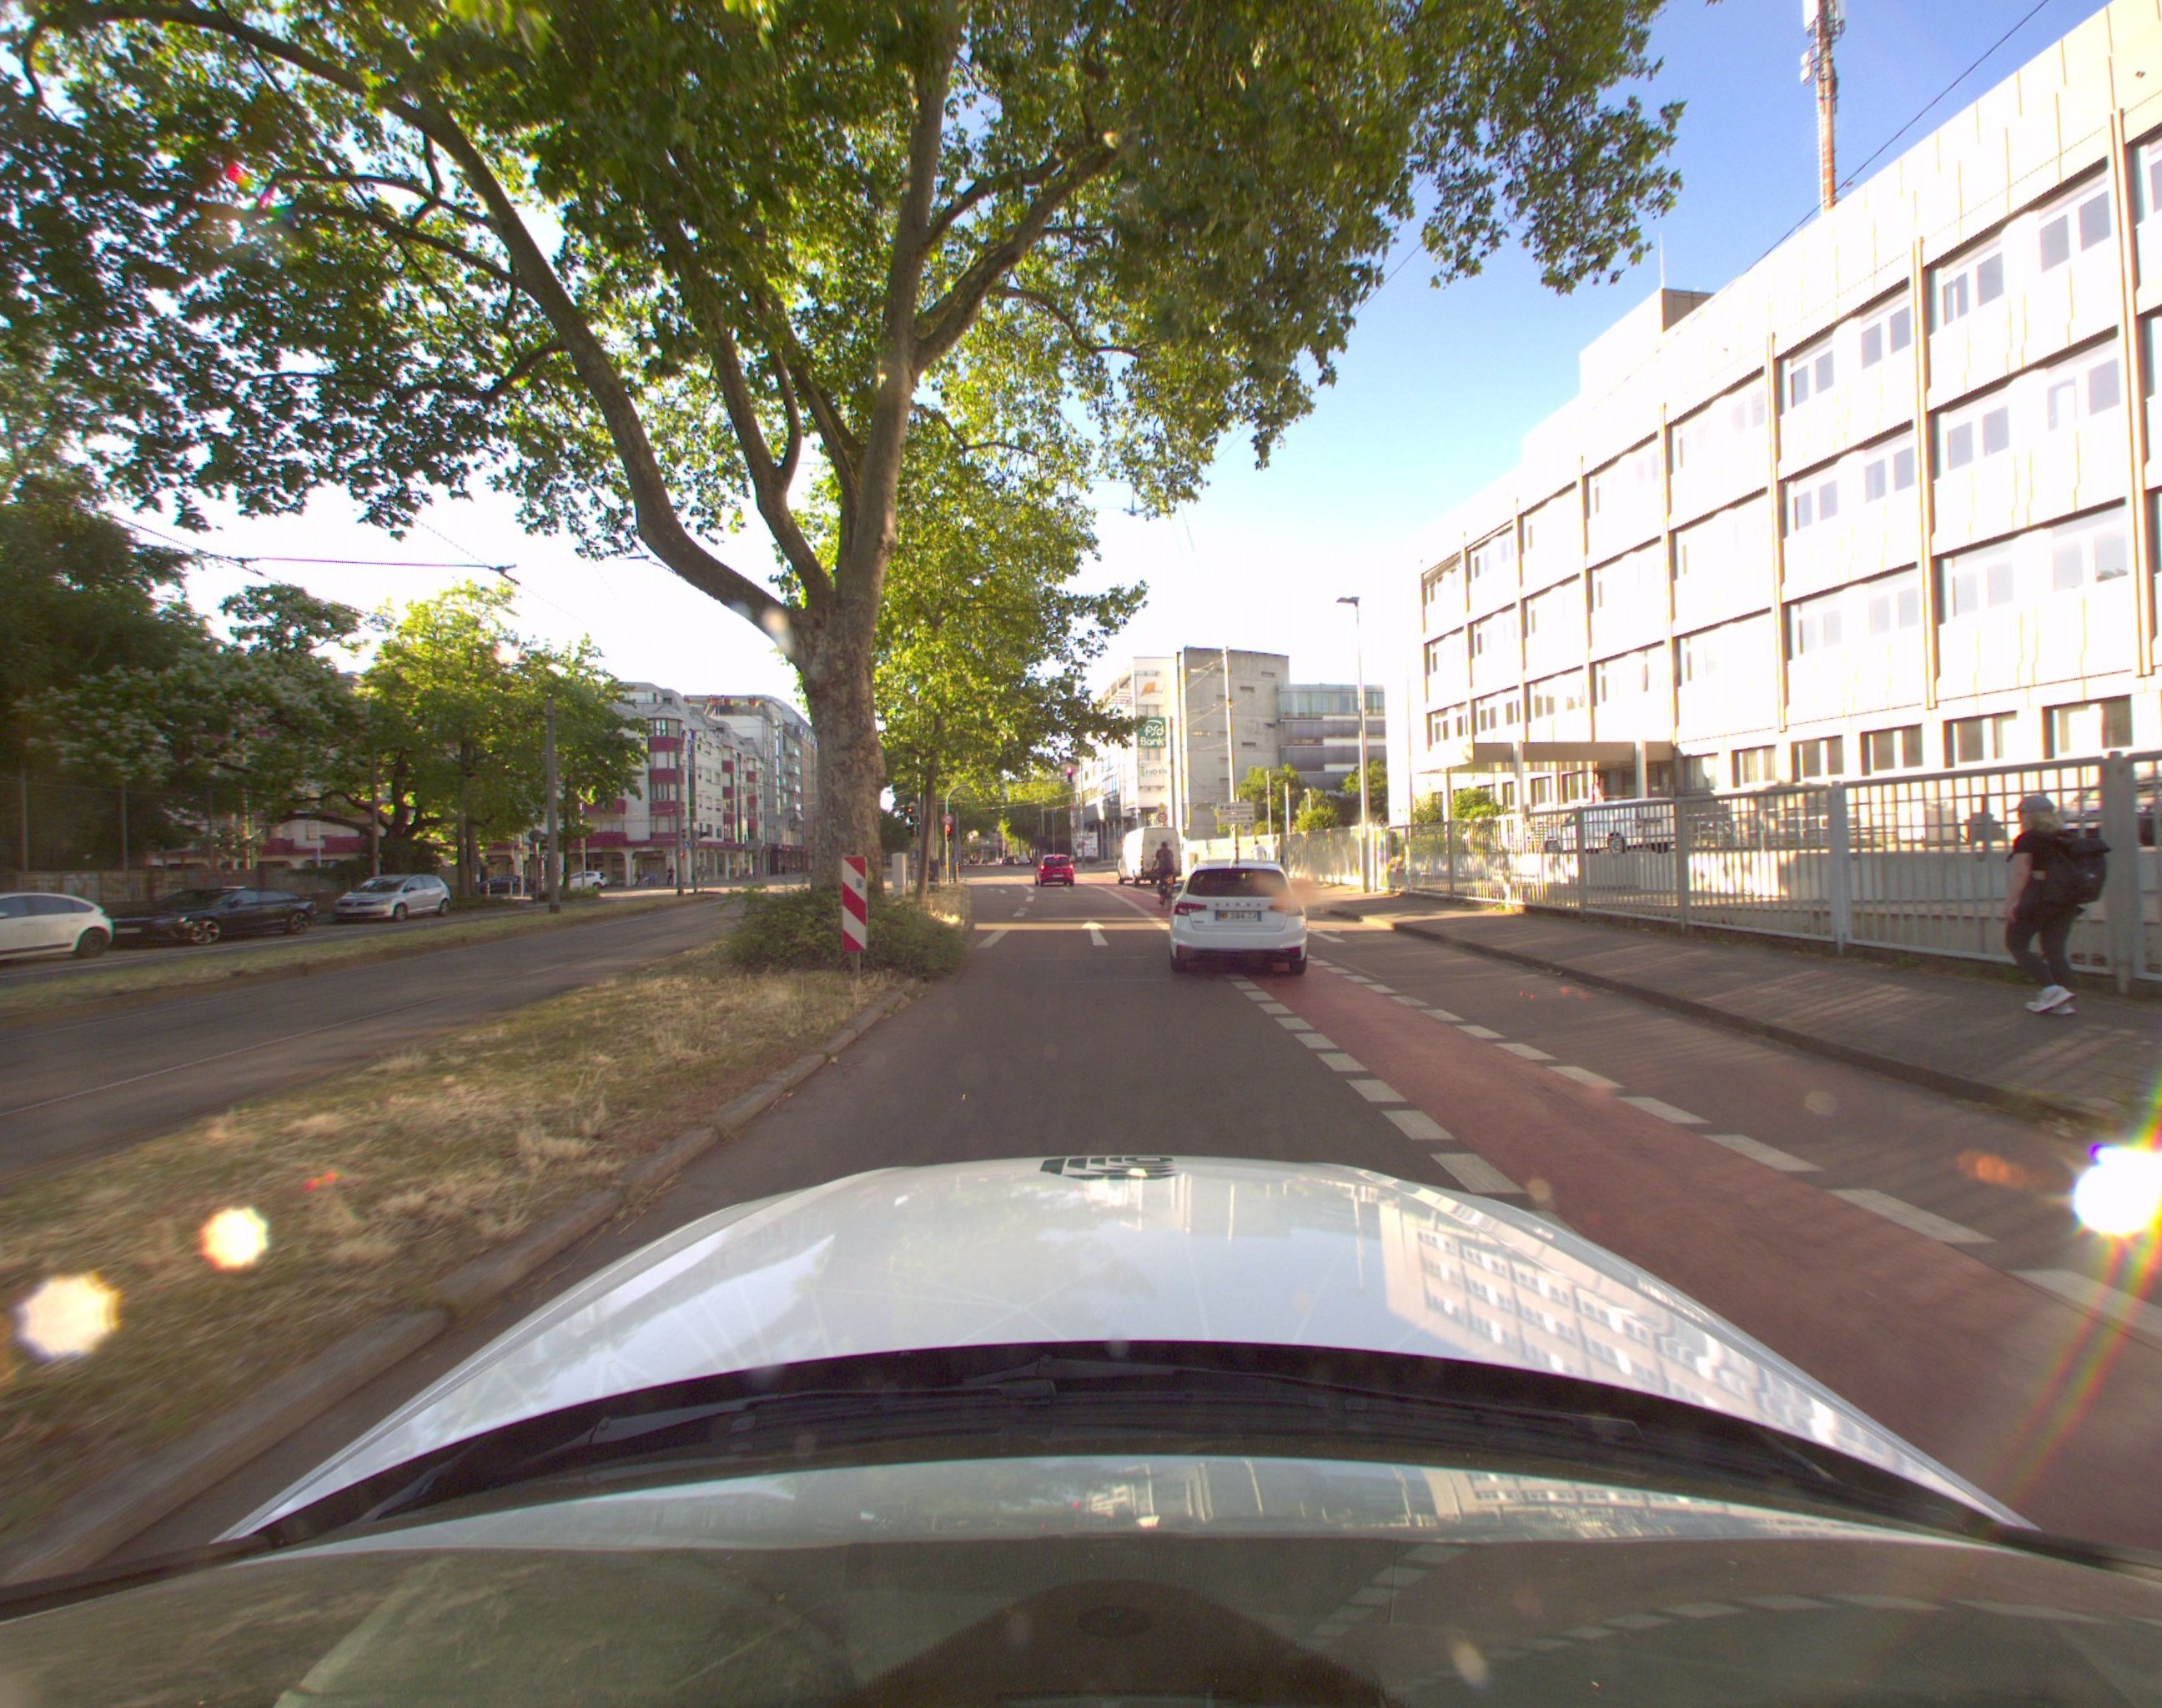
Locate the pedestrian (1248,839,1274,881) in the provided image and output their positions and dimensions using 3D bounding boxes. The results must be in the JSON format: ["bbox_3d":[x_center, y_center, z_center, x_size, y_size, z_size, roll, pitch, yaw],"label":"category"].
[{"bbox_3d":[7.722,0.271,34.998,0.786,1.748,0.769,-2,0,-10],"label":"pedestrian"}]

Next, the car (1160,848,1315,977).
[{"bbox_3d":[2.181,0.682,11.599,1.791,1.501,3.992,0,0,10],"label":"car"}]

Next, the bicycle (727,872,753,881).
[{"bbox_3d":[-33.450,2.209,79.923,2.171,0.787,0.638,-2,0,-12],"label":"bicycle"}]

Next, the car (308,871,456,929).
[{"bbox_3d":[-23.960,1.521,28.151,1.994,1.689,4.162,-2,0,-11],"label":"car"}]

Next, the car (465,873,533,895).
[{"bbox_3d":[-46.484,2.402,65.153,4.002,1.464,1.789,-3,0,-21],"label":"car"}]

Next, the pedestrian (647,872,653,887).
[{"bbox_3d":[-36.847,2.175,69.609,0.304,1.214,0.317,-3,0,-14],"label":"pedestrian"}]

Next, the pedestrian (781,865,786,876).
[{"bbox_3d":[-40.541,2.290,110.903,0.510,1.459,0.527,-2,0,-7],"label":"pedestrian"}]

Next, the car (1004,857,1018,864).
[{"bbox_3d":[-15.580,1.491,181.118,2.479,1.528,4.416,-3,0,-10],"label":"car"}]

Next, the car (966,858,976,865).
[{"bbox_3d":[-27.384,1.804,202.370,2.060,1.653,3.476,-3,0,-13],"label":"car"}]

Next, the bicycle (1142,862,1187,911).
[{"bbox_3d":[2.211,0.831,21.769,0.743,1.224,2.151,0,0,-7],"label":"bicycle"}]

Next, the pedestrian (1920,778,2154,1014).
[{"bbox_3d":[7.411,0.304,6.370,0.693,1.684,0.931,-2,0,2],"label":"pedestrian"}]

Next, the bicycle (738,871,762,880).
[{"bbox_3d":[-33.370,2.202,82.075,2.171,0.824,0.526,-2,0,-12],"label":"bicycle"}]

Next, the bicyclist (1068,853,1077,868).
[{"bbox_3d":[-0.895,0.671,87.604,0.785,1.635,0.636,-2,0,-11],"label":"bicyclist"}]

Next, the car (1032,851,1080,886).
[{"bbox_3d":[-1.227,0.667,38.798,1.838,1.489,3.706,-2,0,-8],"label":"car"}]

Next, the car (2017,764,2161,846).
[{"bbox_3d":[24.608,-1.138,18.811,4.251,1.718,1.987,-2,0,-10],"label":"car"}]

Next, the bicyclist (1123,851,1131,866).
[{"bbox_3d":[4.522,0.452,80.142,0.605,1.388,0.634,-2,0,-10],"label":"bicyclist"}]

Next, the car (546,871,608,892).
[{"bbox_3d":[-41.423,2.227,67.054,4.001,1.464,1.789,-3,0,-21],"label":"car"}]

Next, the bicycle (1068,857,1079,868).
[{"bbox_3d":[-0.836,0.923,87.368,0.793,1.161,2.491,-2,0,-10],"label":"bicycle"}]

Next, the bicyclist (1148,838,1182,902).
[{"bbox_3d":[2.228,0.408,21.666,0.742,1.669,0.743,0,0,-7],"label":"bicyclist"}]

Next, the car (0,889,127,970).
[{"bbox_3d":[-21.703,1.527,15.657,1.994,1.470,4.389,-2,0,-11],"label":"car"}]

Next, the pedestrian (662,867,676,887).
[{"bbox_3d":[-34.635,1.934,68.484,0.709,1.662,1.029,-3,0,-13],"label":"pedestrian"}]

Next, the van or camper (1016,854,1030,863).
[{"bbox_3d":[-11.746,0.952,163.800,2.147,1.750,4.414,-3,0,-11],"label":"van or camper"}]

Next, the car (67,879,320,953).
[{"bbox_3d":[-22.576,1.497,21.069,1.994,1.476,4.632,-2,0,-11],"label":"car"}]

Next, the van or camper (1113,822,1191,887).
[{"bbox_3d":[3.154,0.045,37.715,2.267,2.733,6.329,1,0,-8],"label":"van or camper"}]

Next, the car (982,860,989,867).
[{"bbox_3d":[-24.323,2.322,207.218,1.657,1.607,3.519,-3,0,-9],"label":"car"}]

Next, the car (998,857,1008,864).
[{"bbox_3d":[-19.436,1.572,202.644,1.886,1.528,4.414,-3,0,-11],"label":"car"}]

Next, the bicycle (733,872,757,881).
[{"bbox_3d":[-33.309,2.210,80.715,2.171,0.787,0.490,-2,0,-12],"label":"bicycle"}]

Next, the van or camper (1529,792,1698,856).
[{"bbox_3d":[18.147,-0.946,28.104,1.980,1.908,4.983,-3,0,-9],"label":"van or camper"}]

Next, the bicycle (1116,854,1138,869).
[{"bbox_3d":[4.502,0.749,80.135,1.988,1.379,0.645,-2,0,-10],"label":"bicycle"}]
